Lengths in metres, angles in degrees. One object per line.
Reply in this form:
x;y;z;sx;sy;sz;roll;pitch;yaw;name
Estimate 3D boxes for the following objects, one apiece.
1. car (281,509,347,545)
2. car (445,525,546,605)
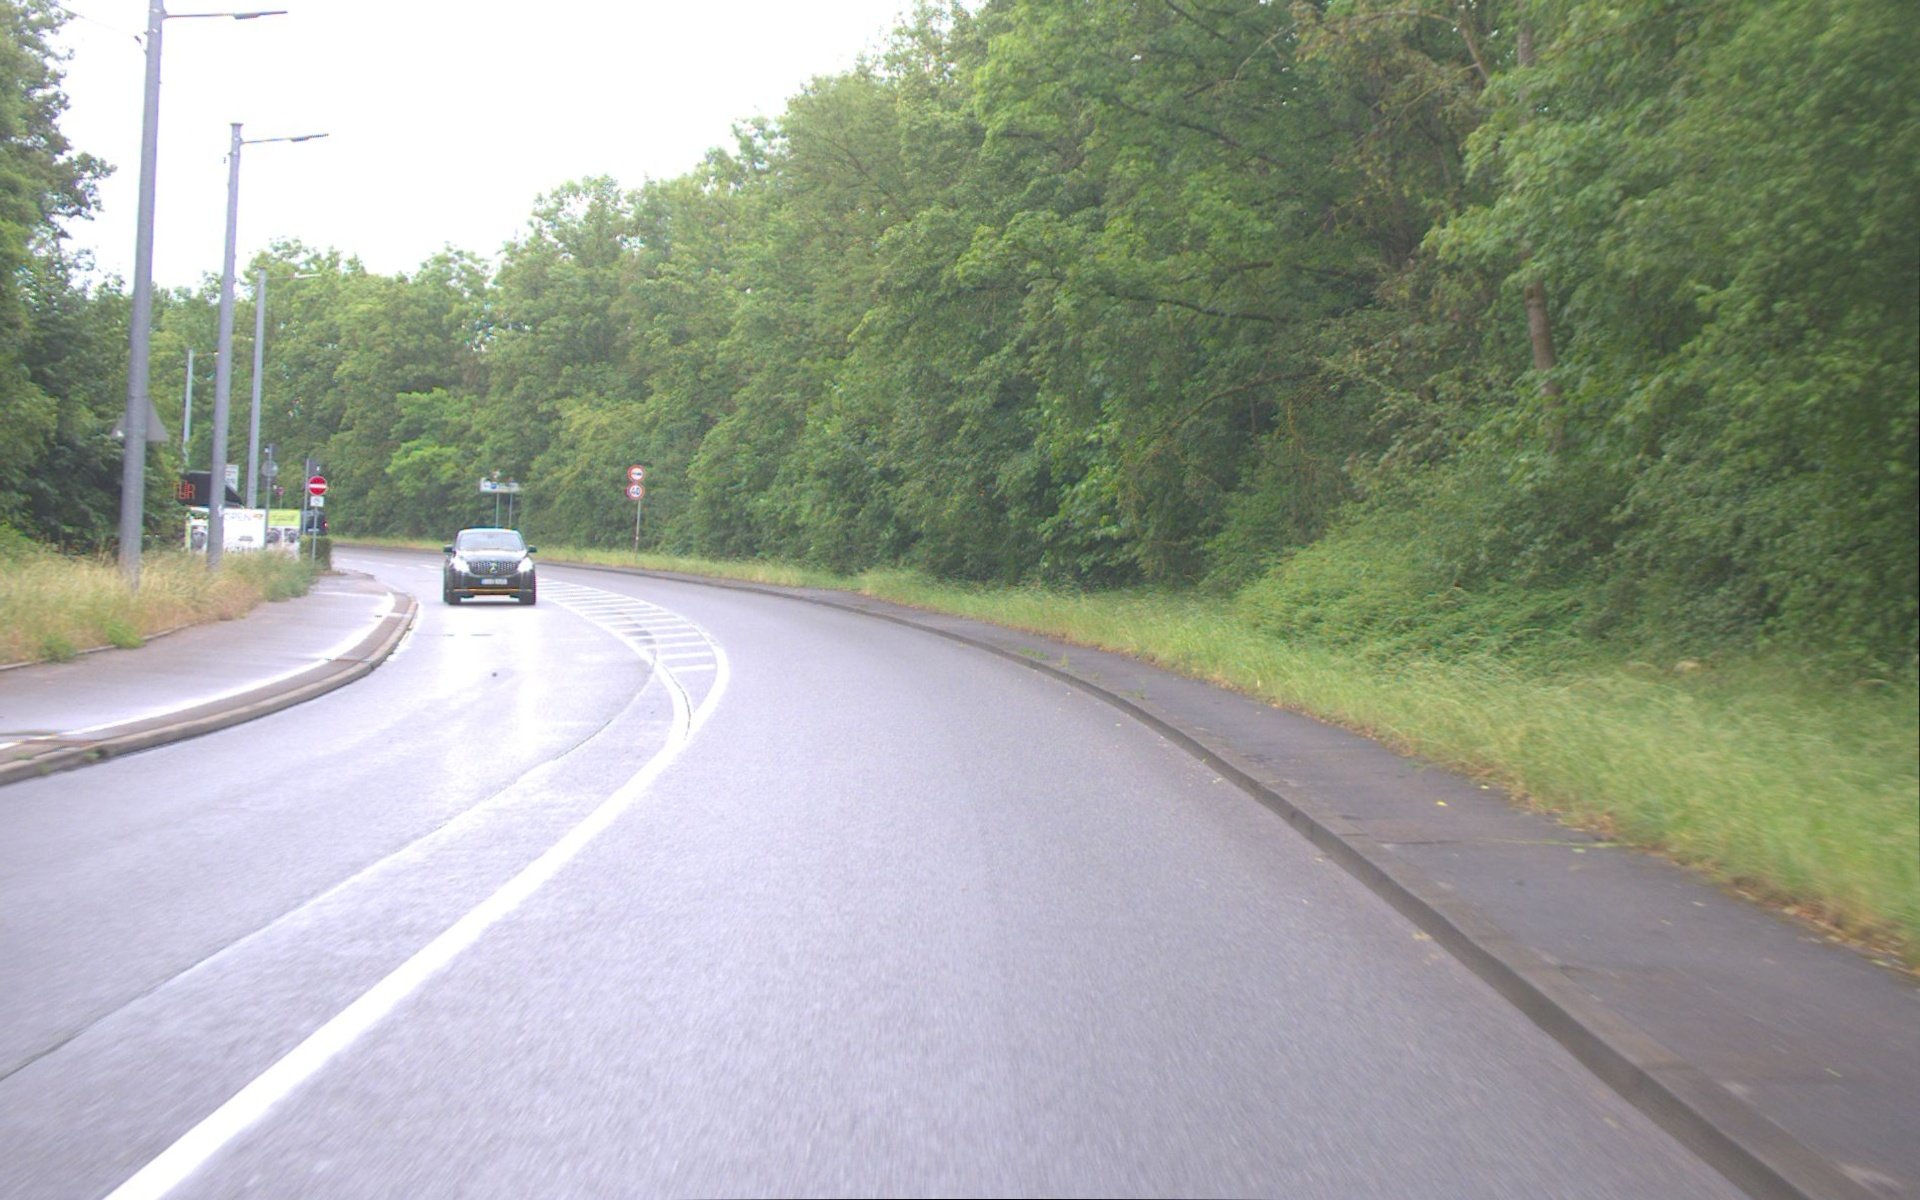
-32.841;-3.702;174.702;1.868;1.590;4.000;0;4;-34;car
-10.770;-0.831;79.463;1.993;1.781;4.709;0;1;-12;car
